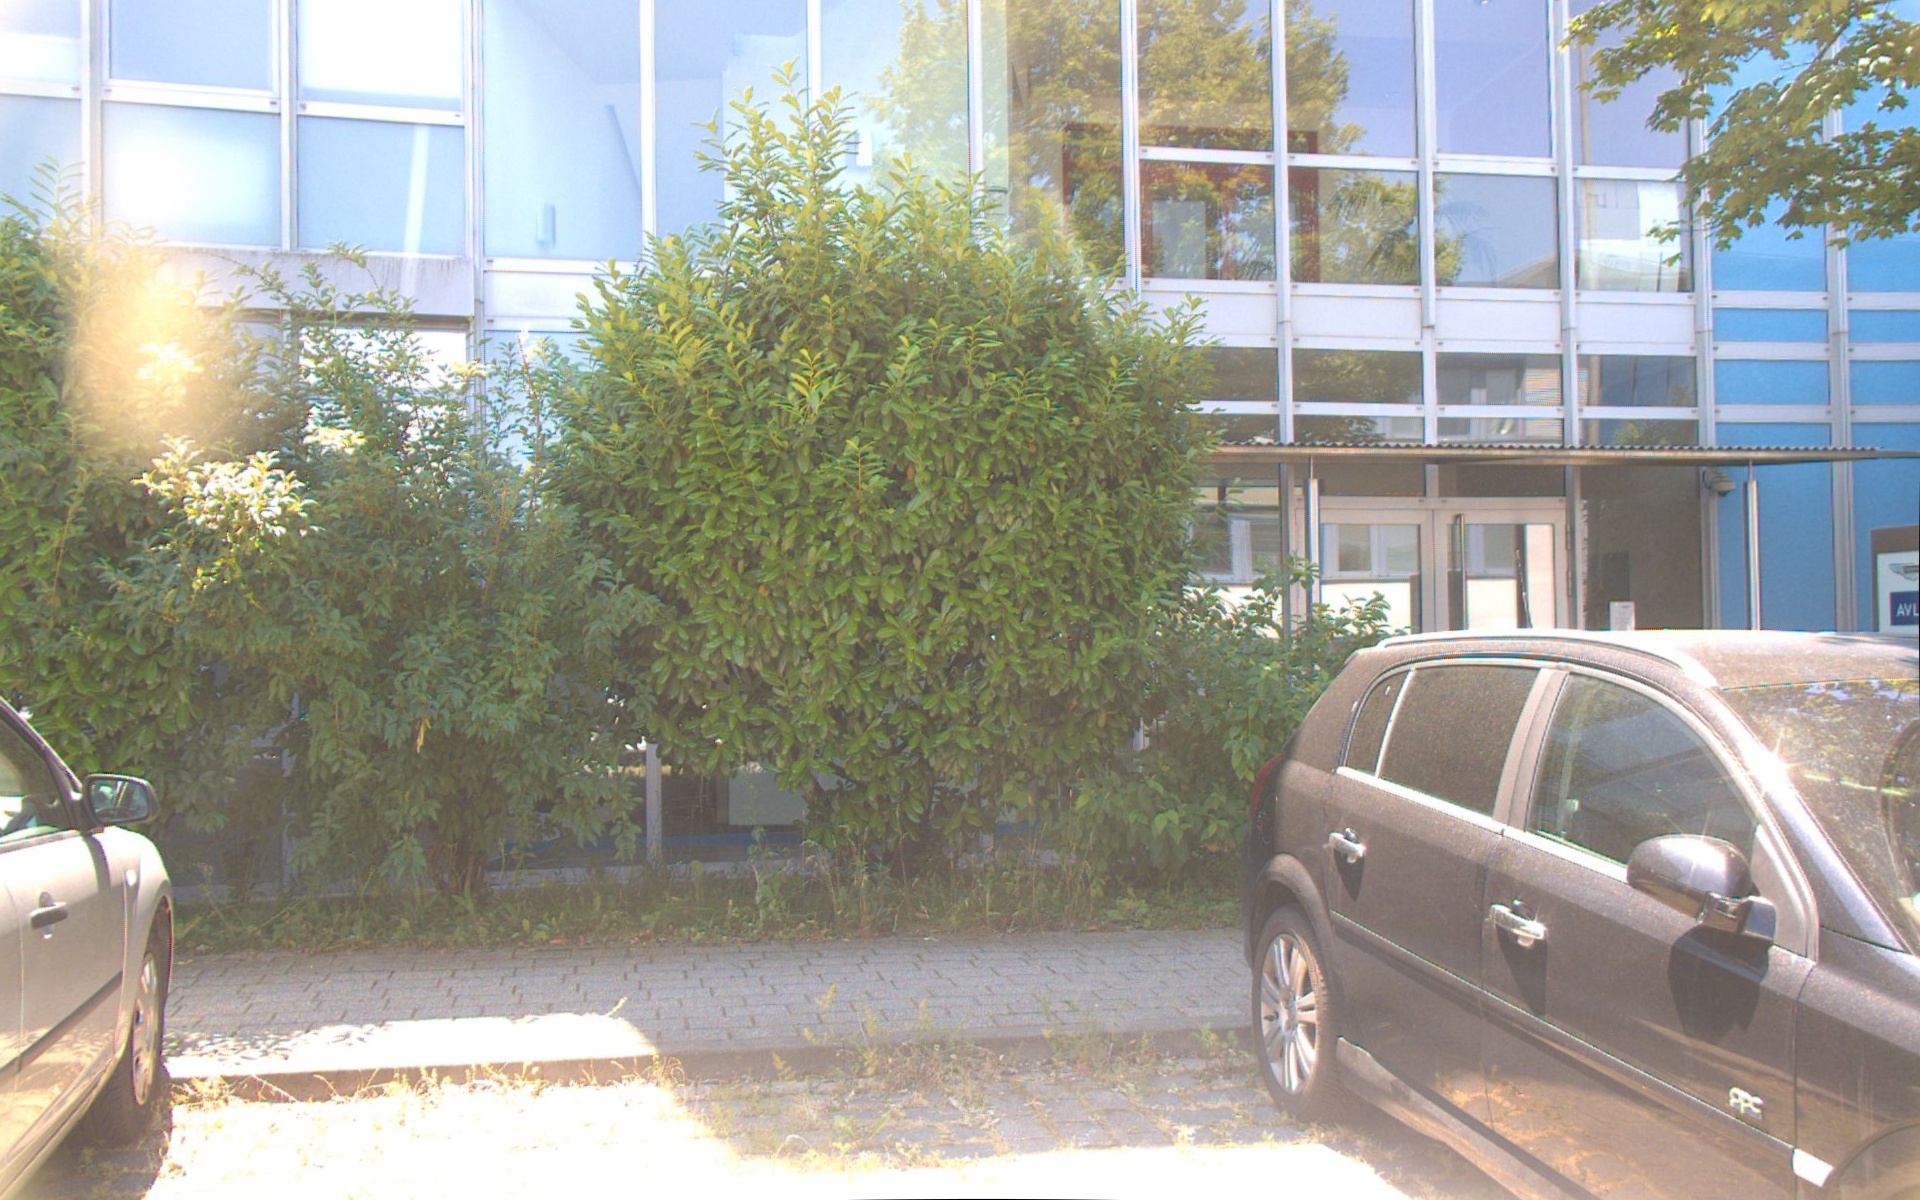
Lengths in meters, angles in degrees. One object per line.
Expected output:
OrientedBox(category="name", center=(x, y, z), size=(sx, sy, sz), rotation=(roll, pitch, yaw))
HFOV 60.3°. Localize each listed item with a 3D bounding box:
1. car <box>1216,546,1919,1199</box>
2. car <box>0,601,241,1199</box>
OrientedBox(category="car", center=(2.117, 0.733, 3.684), size=(1.726, 1.576, 4.554), rotation=(1, -1, -10))
OrientedBox(category="car", center=(-2.663, 0.750, 3.110), size=(1.690, 1.505, 4.332), rotation=(1, -1, -14))
